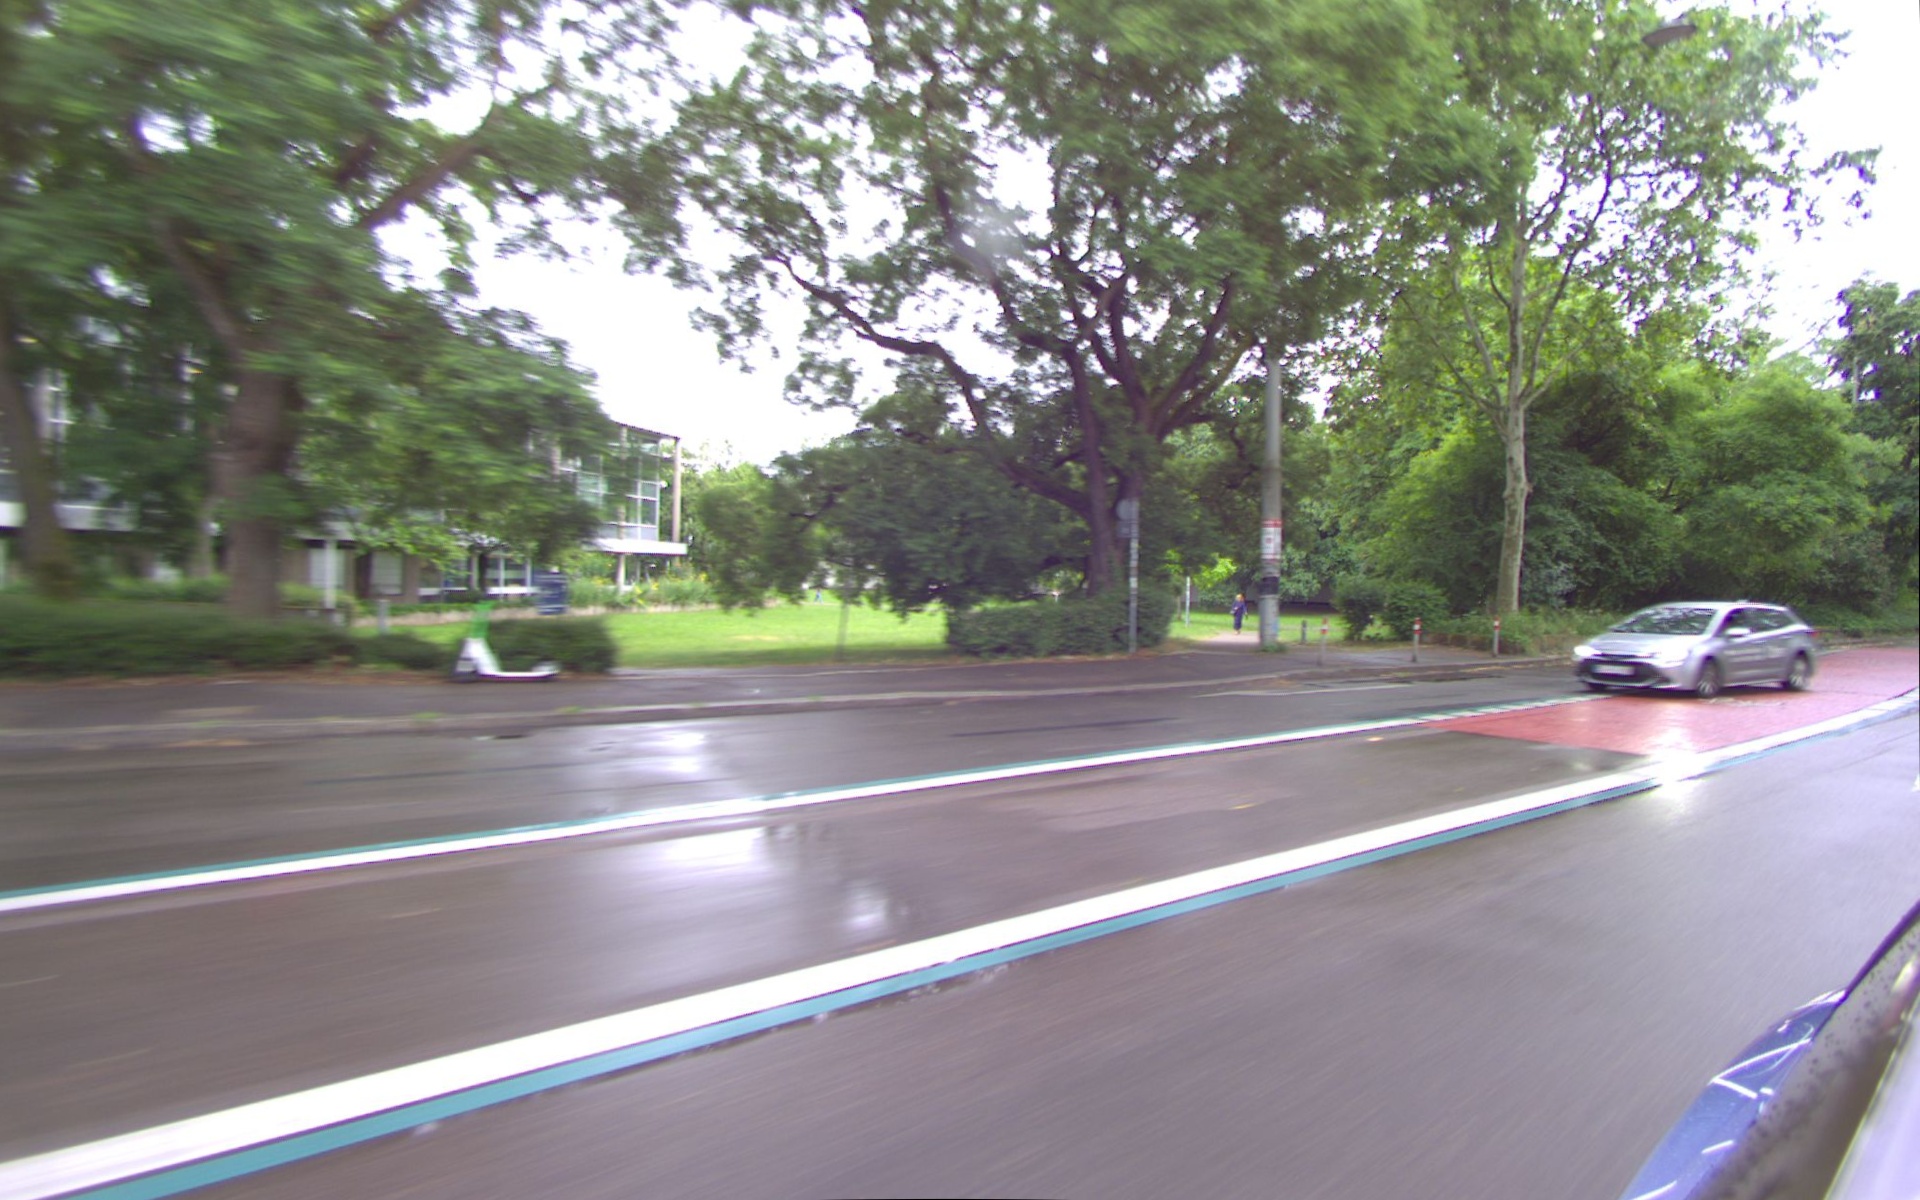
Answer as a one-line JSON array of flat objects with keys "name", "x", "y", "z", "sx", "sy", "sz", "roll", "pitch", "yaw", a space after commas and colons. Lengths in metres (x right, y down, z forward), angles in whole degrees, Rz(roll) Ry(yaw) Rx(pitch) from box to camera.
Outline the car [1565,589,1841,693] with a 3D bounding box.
[{"name": "car", "x": 12.038, "y": 0.592, "z": 16.361, "sx": 4.314, "sy": 1.468, "sz": 1.871, "roll": 0, "pitch": 1, "yaw": -27}]

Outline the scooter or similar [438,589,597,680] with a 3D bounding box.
[{"name": "scooter or similar", "x": -5.815, "y": 0.457, "z": 13.387, "sx": 1.851, "sy": 1.114, "sz": 0.560, "roll": 2, "pitch": 3, "yaw": -18}]
